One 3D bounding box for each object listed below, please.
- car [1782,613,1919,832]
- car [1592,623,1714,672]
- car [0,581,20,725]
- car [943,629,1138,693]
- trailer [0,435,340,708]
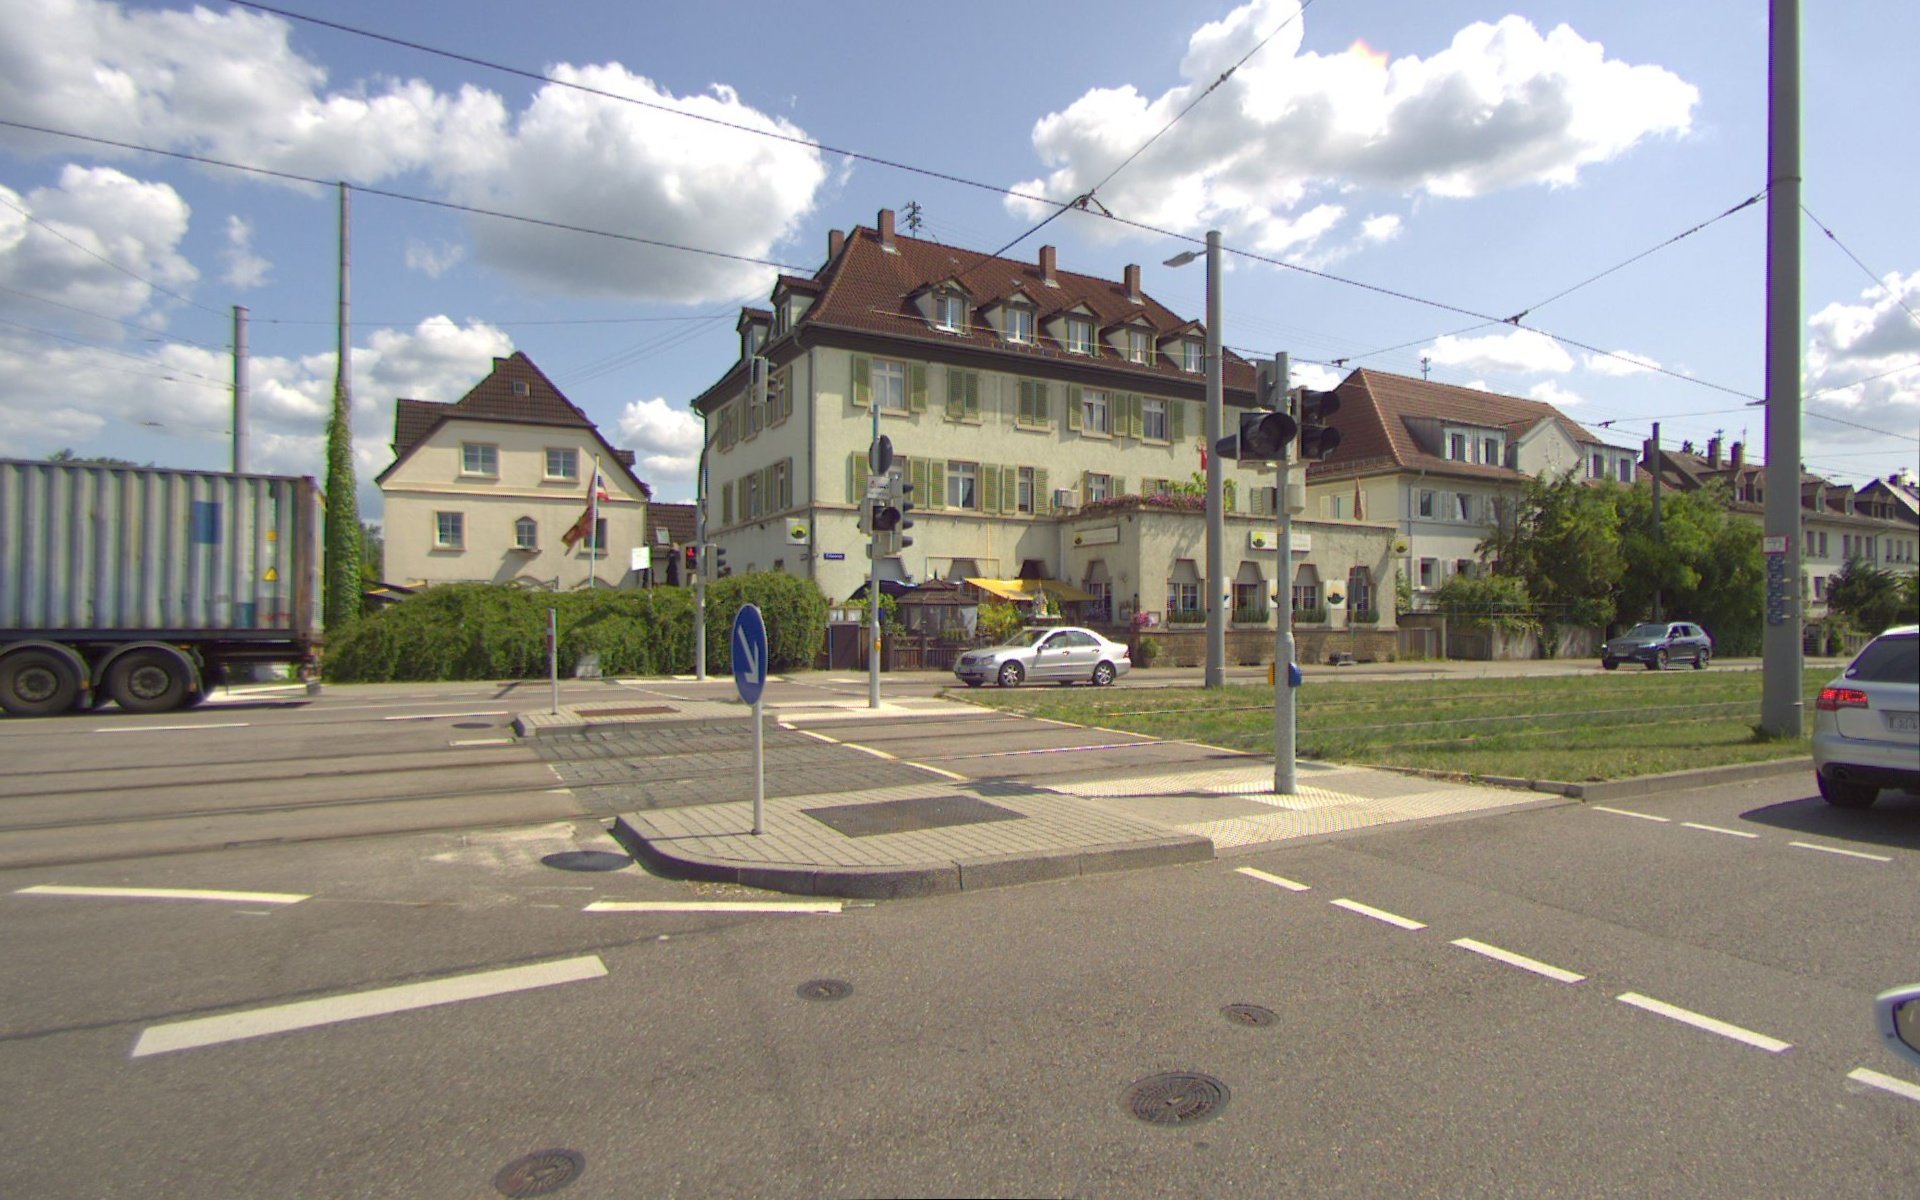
[{"bbox_3d":[8.646,0.875,8.007,4.668,1.491,1.785,1,0,-31],"label":"car"},{"bbox_3d":[26.182,1.778,37.898,4.881,1.734,2.004,1,-2,-32],"label":"car"},{"bbox_3d":[-14.145,0.626,11.449,4.658,1.839,1.786,1,-2,-31],"label":"car"},{"bbox_3d":[1.949,1.399,23.877,4.417,1.405,1.787,1,-2,-29],"label":"car"},{"bbox_3d":[-16.327,-0.336,14.193,12.675,3.871,2.589,0,-3,-28],"label":"trailer"}]
